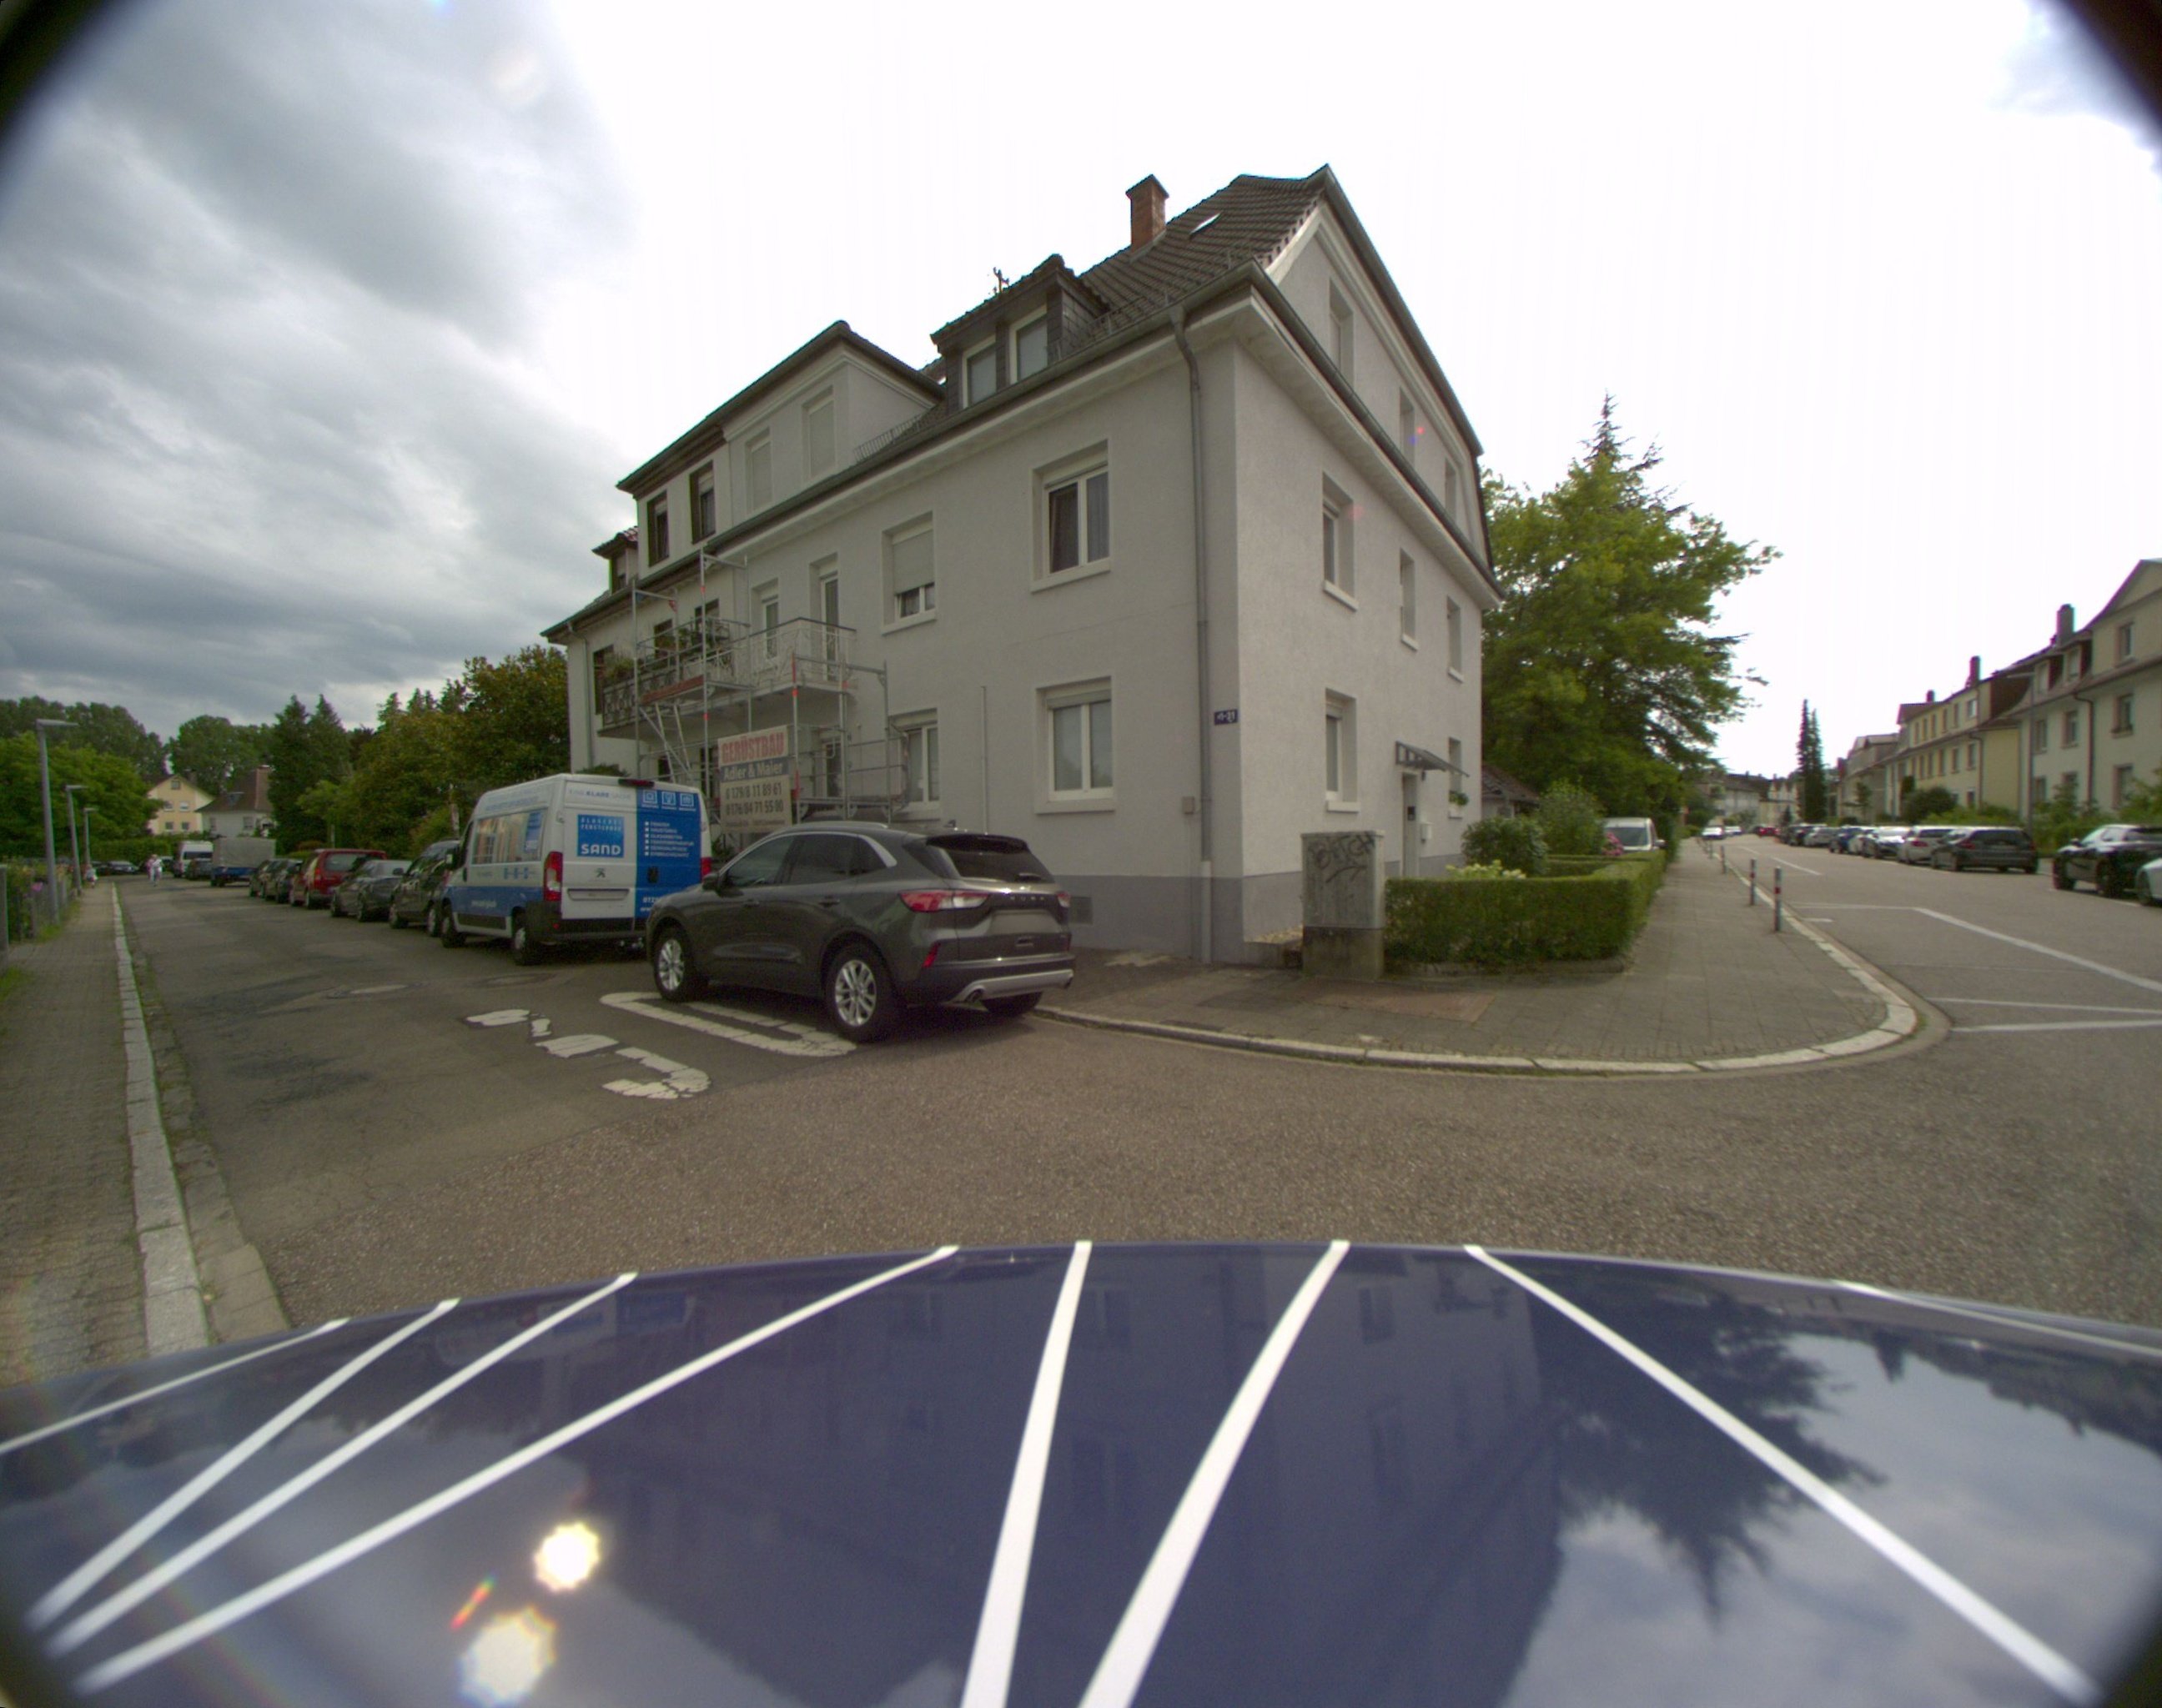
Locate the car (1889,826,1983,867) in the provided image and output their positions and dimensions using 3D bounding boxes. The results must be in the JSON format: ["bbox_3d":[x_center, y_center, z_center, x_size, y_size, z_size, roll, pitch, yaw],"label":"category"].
[{"bbox_3d":[33.168,-0.343,29.599,1.854,1.463,4.183,0,2,40],"label":"car"}]

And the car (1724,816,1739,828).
[{"bbox_3d":[124.215,-6.077,145.125,1.994,2.112,4.008,1,2,42],"label":"car"}]

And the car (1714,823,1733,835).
[{"bbox_3d":[95.096,-3.723,112.370,1.994,1.631,4.008,1,2,42],"label":"car"}]

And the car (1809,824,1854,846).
[{"bbox_3d":[51.684,-1.310,52.389,1.854,1.463,4.183,0,2,40],"label":"car"}]

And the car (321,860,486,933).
[{"bbox_3d":[-16.209,0.904,18.131,4.329,1.447,2.004,0,2,36],"label":"car"}]

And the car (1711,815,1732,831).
[{"bbox_3d":[84.156,-4.111,99.836,1.994,2.002,4.008,1,2,41],"label":"car"}]

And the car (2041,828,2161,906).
[{"bbox_3d":[22.487,0.218,16.087,1.854,1.463,4.183,0,2,40],"label":"car"}]

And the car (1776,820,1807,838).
[{"bbox_3d":[66.823,-2.367,71.498,1.854,1.569,4.183,0,2,39],"label":"car"}]

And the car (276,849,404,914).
[{"bbox_3d":[-22.433,0.757,22.974,4.329,1.740,2.004,0,2,36],"label":"car"}]

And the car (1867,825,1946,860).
[{"bbox_3d":[36.804,-0.532,33.989,1.854,1.463,4.183,0,2,40],"label":"car"}]

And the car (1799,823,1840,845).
[{"bbox_3d":[54.727,-1.524,56.338,1.854,1.569,4.183,0,2,40],"label":"car"}]

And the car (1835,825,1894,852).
[{"bbox_3d":[43.741,-0.894,42.489,1.854,1.463,4.183,0,2,40],"label":"car"}]

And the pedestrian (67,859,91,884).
[{"bbox_3d":[-53.646,0.915,40.687,0.752,1.317,0.665,0,2,32],"label":"pedestrian"}]

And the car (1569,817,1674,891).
[{"bbox_3d":[14.841,-0.062,20.784,1.994,1.827,4.008,0,2,40],"label":"car"}]

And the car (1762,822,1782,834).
[{"bbox_3d":[91.836,-3.500,101.022,1.854,1.569,4.183,0,2,40],"label":"car"}]

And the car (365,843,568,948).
[{"bbox_3d":[-12.222,0.694,15.036,4.329,1.762,2.004,0,2,36],"label":"car"}]

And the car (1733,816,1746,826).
[{"bbox_3d":[133.341,-6.684,153.861,1.994,2.112,4.008,1,2,42],"label":"car"}]

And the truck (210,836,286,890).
[{"bbox_3d":[-44.068,0.437,40.189,4.571,2.642,2.141,0,2,37],"label":"truck"}]

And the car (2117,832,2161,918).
[{"bbox_3d":[19.343,0.380,12.446,1.854,1.463,4.183,0,2,40],"label":"car"}]

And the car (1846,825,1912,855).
[{"bbox_3d":[40.981,-0.750,39.100,1.854,1.463,4.183,0,2,40],"label":"car"}]

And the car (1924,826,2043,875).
[{"bbox_3d":[29.919,-0.171,25.330,1.854,1.463,4.183,0,2,40],"label":"car"}]

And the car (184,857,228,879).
[{"bbox_3d":[-59.944,0.906,52.024,3.988,1.368,1.830,0,2,40],"label":"car"}]

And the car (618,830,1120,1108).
[{"bbox_3d":[-2.034,0.687,6.768,4.329,1.717,2.004,0,2,36],"label":"car"}]

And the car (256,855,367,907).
[{"bbox_3d":[-26.573,0.869,26.209,4.329,1.582,2.004,0,2,36],"label":"car"}]

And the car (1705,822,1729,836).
[{"bbox_3d":[75.762,-2.987,90.536,1.994,1.631,4.008,1,2,42],"label":"car"}]

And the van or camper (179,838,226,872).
[{"bbox_3d":[-69.627,0.071,60.210,5.000,2.527,2.152,0,2,39],"label":"van or camper"}]

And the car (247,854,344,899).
[{"bbox_3d":[-30.880,0.837,29.832,4.329,1.582,2.004,0,2,36],"label":"car"}]

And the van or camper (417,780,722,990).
[{"bbox_3d":[-7.701,0.328,11.255,5.039,2.445,2.203,0,2,38],"label":"van or camper"}]
